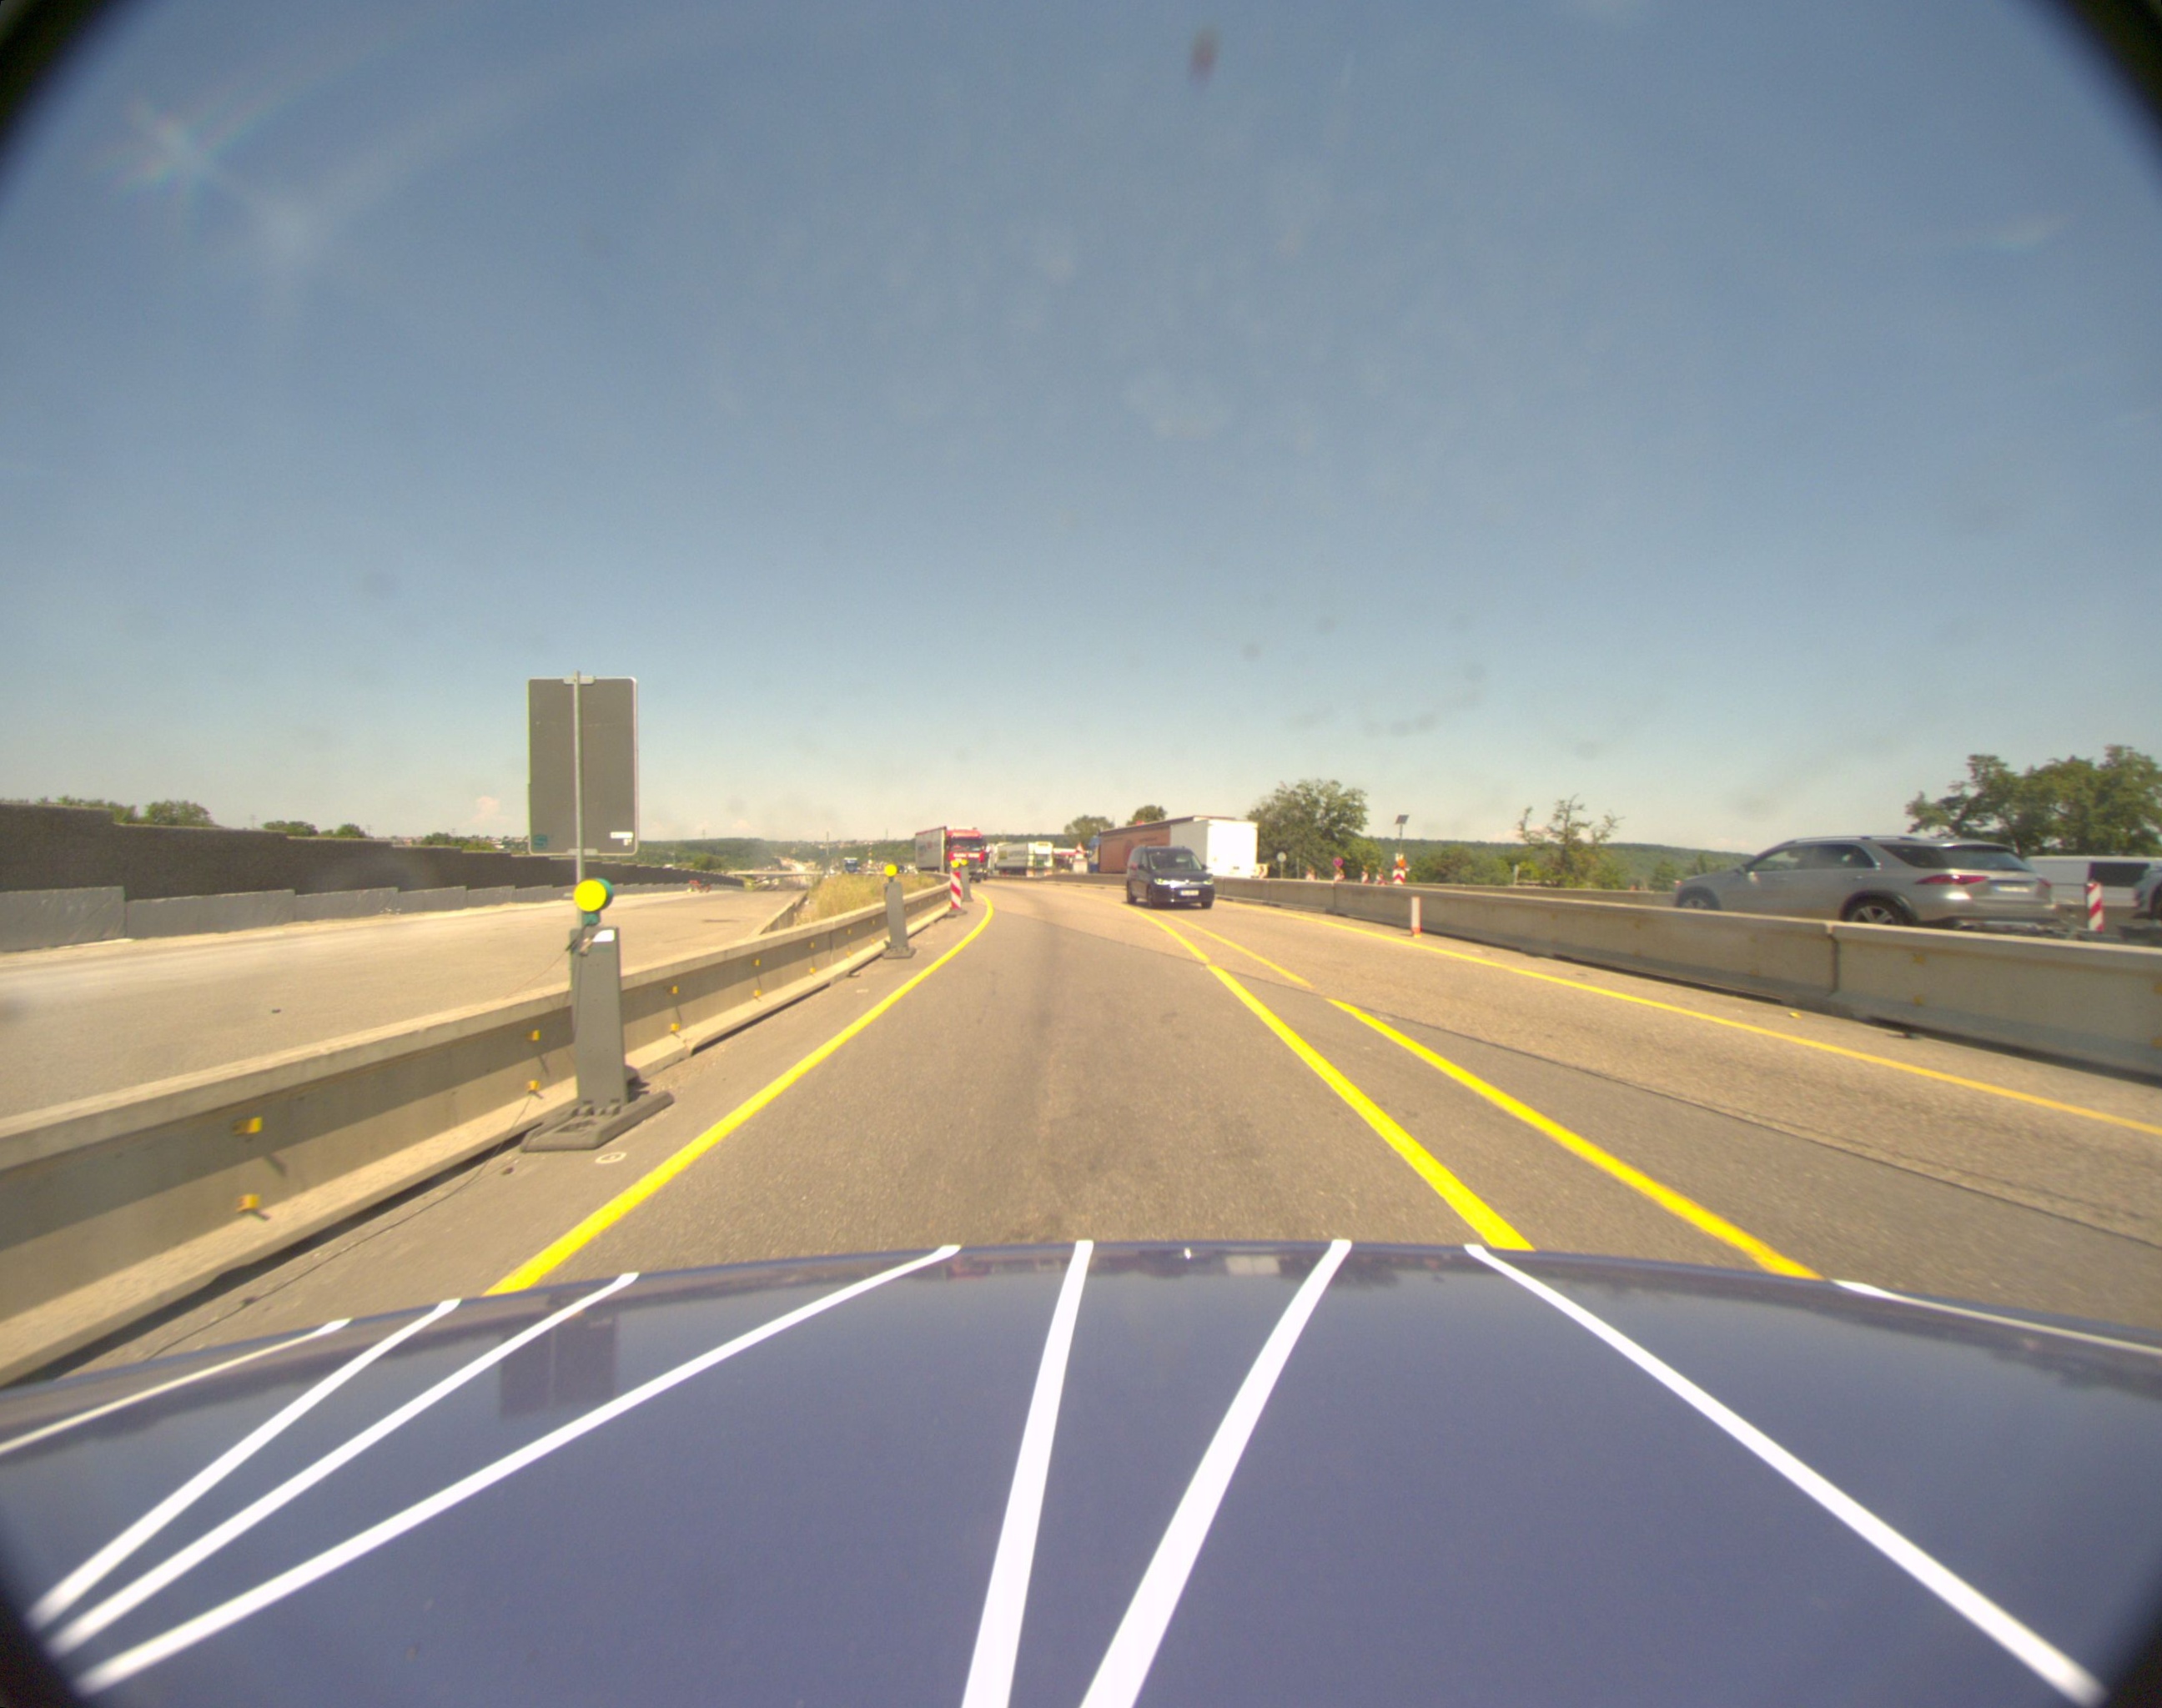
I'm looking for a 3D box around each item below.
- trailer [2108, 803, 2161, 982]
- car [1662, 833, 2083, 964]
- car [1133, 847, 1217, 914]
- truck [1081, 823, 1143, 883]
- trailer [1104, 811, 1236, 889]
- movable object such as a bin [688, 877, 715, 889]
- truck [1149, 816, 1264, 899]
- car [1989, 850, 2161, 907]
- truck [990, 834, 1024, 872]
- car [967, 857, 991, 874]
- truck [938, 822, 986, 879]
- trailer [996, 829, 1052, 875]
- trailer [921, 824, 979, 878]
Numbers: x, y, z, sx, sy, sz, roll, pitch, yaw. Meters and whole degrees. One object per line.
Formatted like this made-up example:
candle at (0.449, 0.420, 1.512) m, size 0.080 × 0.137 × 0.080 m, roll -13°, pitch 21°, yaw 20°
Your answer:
trailer at (13.226, 0.417, 6.835) m, size 1.871 × 2.010 × 4.434 m, roll 0°, pitch 0°, yaw -4°
car at (12.786, 0.626, 12.906) m, size 1.871 × 1.795 × 4.905 m, roll 0°, pitch 0°, yaw -4°
car at (2.707, 0.712, 22.860) m, size 1.926 × 1.779 × 4.603 m, roll -1°, pitch 0°, yaw 0°
truck at (2.149, -0.044, 54.305) m, size 2.555 × 4.056 × 5.536 m, roll 0°, pitch 0°, yaw -19°
trailer at (4.980, -0.128, 46.810) m, size 2.598 × 4.127 × 13.043 m, roll 0°, pitch 0°, yaw -20°
movable object such as a bin at (-70.938, 5.384, 142.211) m, size 1.757 × 2.135 × 4.143 m, roll 0°, pitch 0°, yaw 43°
truck at (5.463, 0.176, 34.575) m, size 2.589 × 3.361 × 6.919 m, roll 0°, pitch 0°, yaw -15°
car at (32.515, 0.747, 23.826) m, size 1.727 × 1.703 × 4.876 m, roll 0°, pitch 0°, yaw -20°
truck at (-7.870, -0.081, 80.735) m, size 2.458 × 3.984 × 5.069 m, roll 0°, pitch 0°, yaw -19°
car at (-8.902, 1.012, 66.229) m, size 1.429 × 1.477 × 3.409 m, roll 0°, pitch 0°, yaw -20°
truck at (-8.596, -0.186, 54.397) m, size 2.631 × 3.880 × 4.926 m, roll 0°, pitch 0°, yaw -18°
trailer at (-5.814, -0.132, 74.976) m, size 2.363 × 4.127 × 12.478 m, roll 0°, pitch 0°, yaw -20°
trailer at (-10.627, -0.157, 60.493) m, size 2.706 × 3.851 × 12.403 m, roll 0°, pitch 0°, yaw -18°
